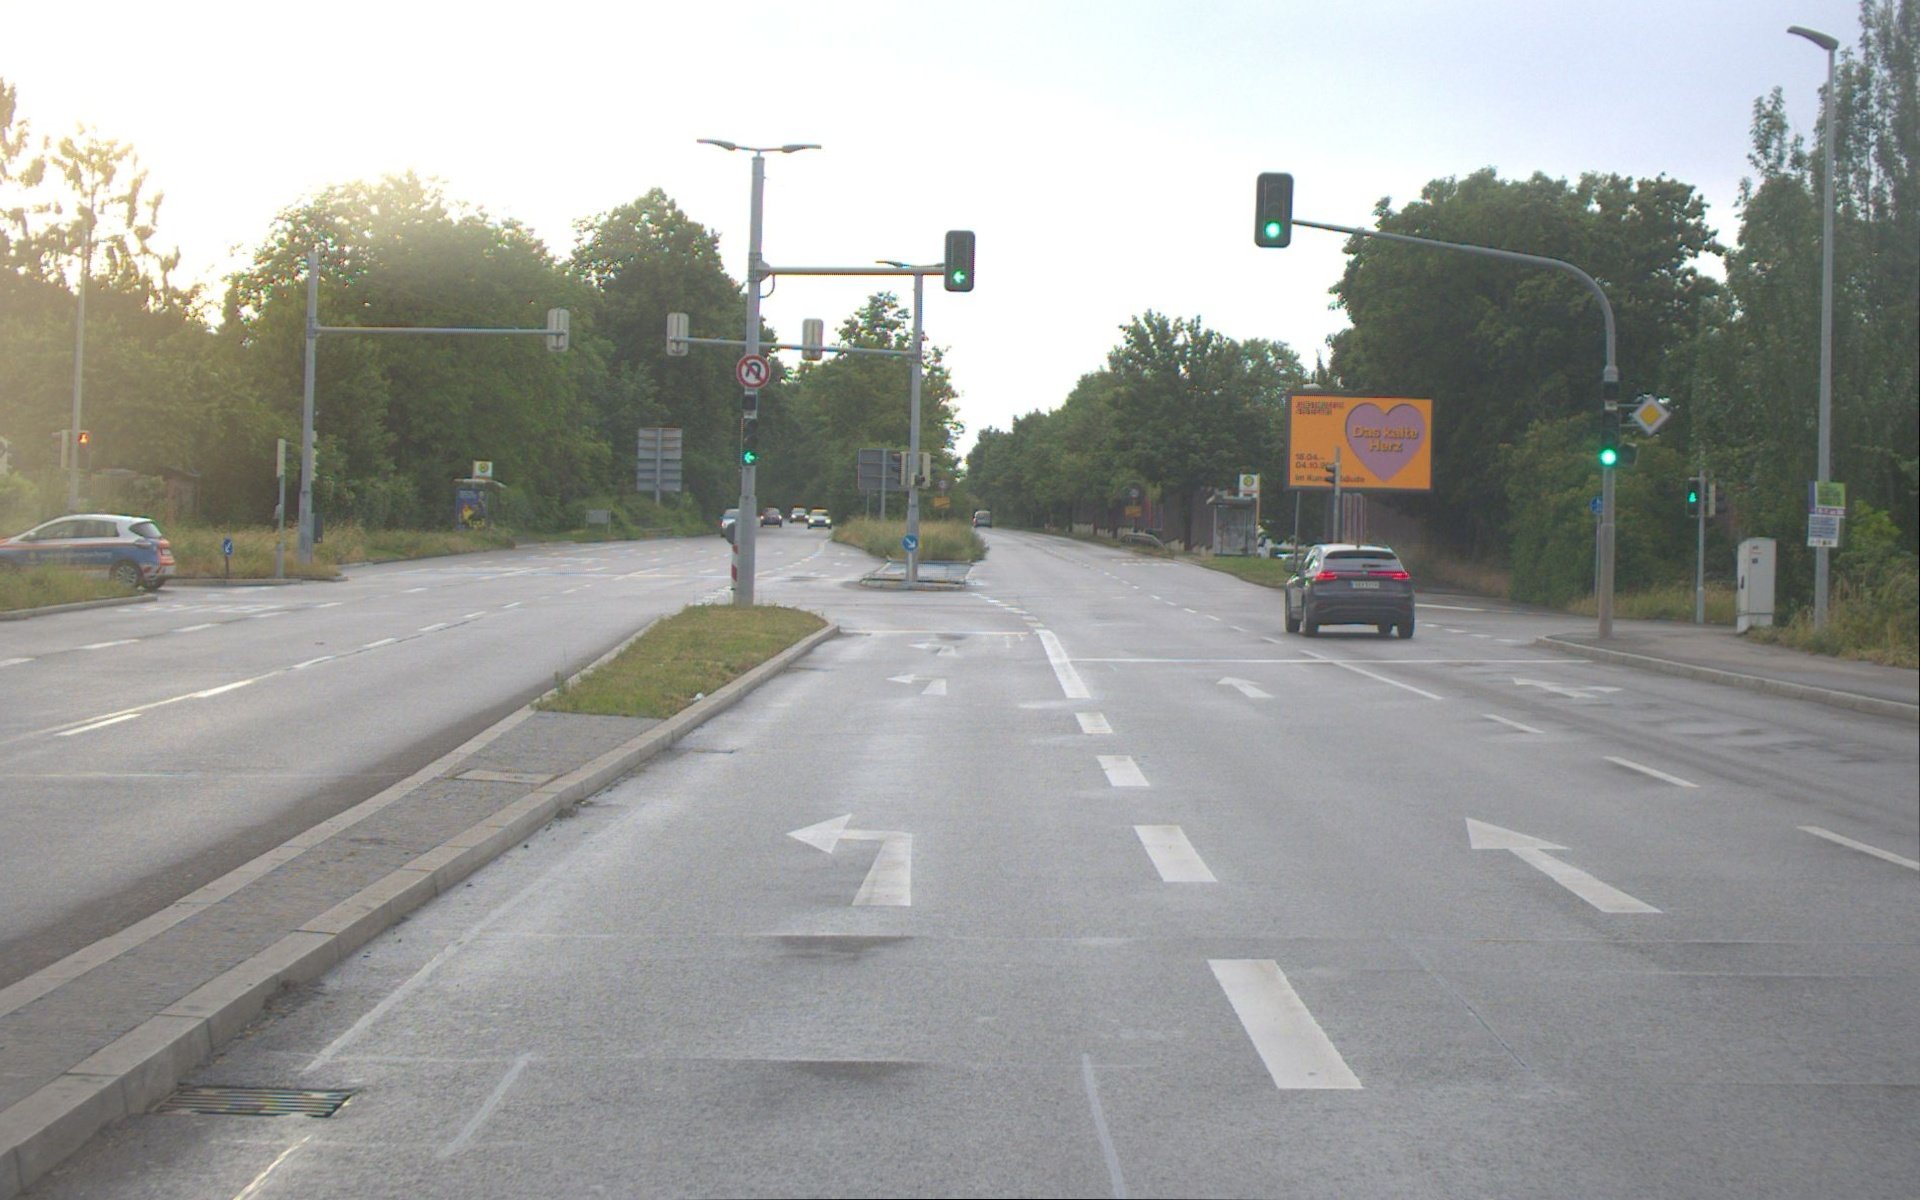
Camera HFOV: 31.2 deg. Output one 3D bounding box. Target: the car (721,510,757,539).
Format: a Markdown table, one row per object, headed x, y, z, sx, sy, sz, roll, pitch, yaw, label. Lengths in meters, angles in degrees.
| x | y | z | sx | sy | sz | roll | pitch | yaw | label |
| --- | --- | --- | --- | --- | --- | --- | --- | --- | --- |
| -12.639 | -4.340 | 196.879 | 1.768 | 1.590 | 4.489 | 2 | 1 | 0 | car |

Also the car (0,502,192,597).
| x | y | z | sx | sy | sz | roll | pitch | yaw | label |
| --- | --- | --- | --- | --- | --- | --- | --- | --- | --- |
| -18.260 | -1.047 | 70.979 | 4.185 | 1.712 | 2.083 | 3 | -1 | 4 | car |

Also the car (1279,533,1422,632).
| x | y | z | sx | sy | sz | roll | pitch | yaw | label |
| --- | --- | --- | --- | --- | --- | --- | --- | --- | --- |
| 6.240 | -0.309 | 55.311 | 1.745 | 1.465 | 4.166 | 2 | 1 | 0 | car |

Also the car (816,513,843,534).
| x | y | z | sx | sy | sz | roll | pitch | yaw | label |
| --- | --- | --- | --- | --- | --- | --- | --- | --- | --- |
| -9.839 | -5.761 | 259.520 | 1.893 | 1.529 | 4.489 | 2 | 1 | 0 | car |
